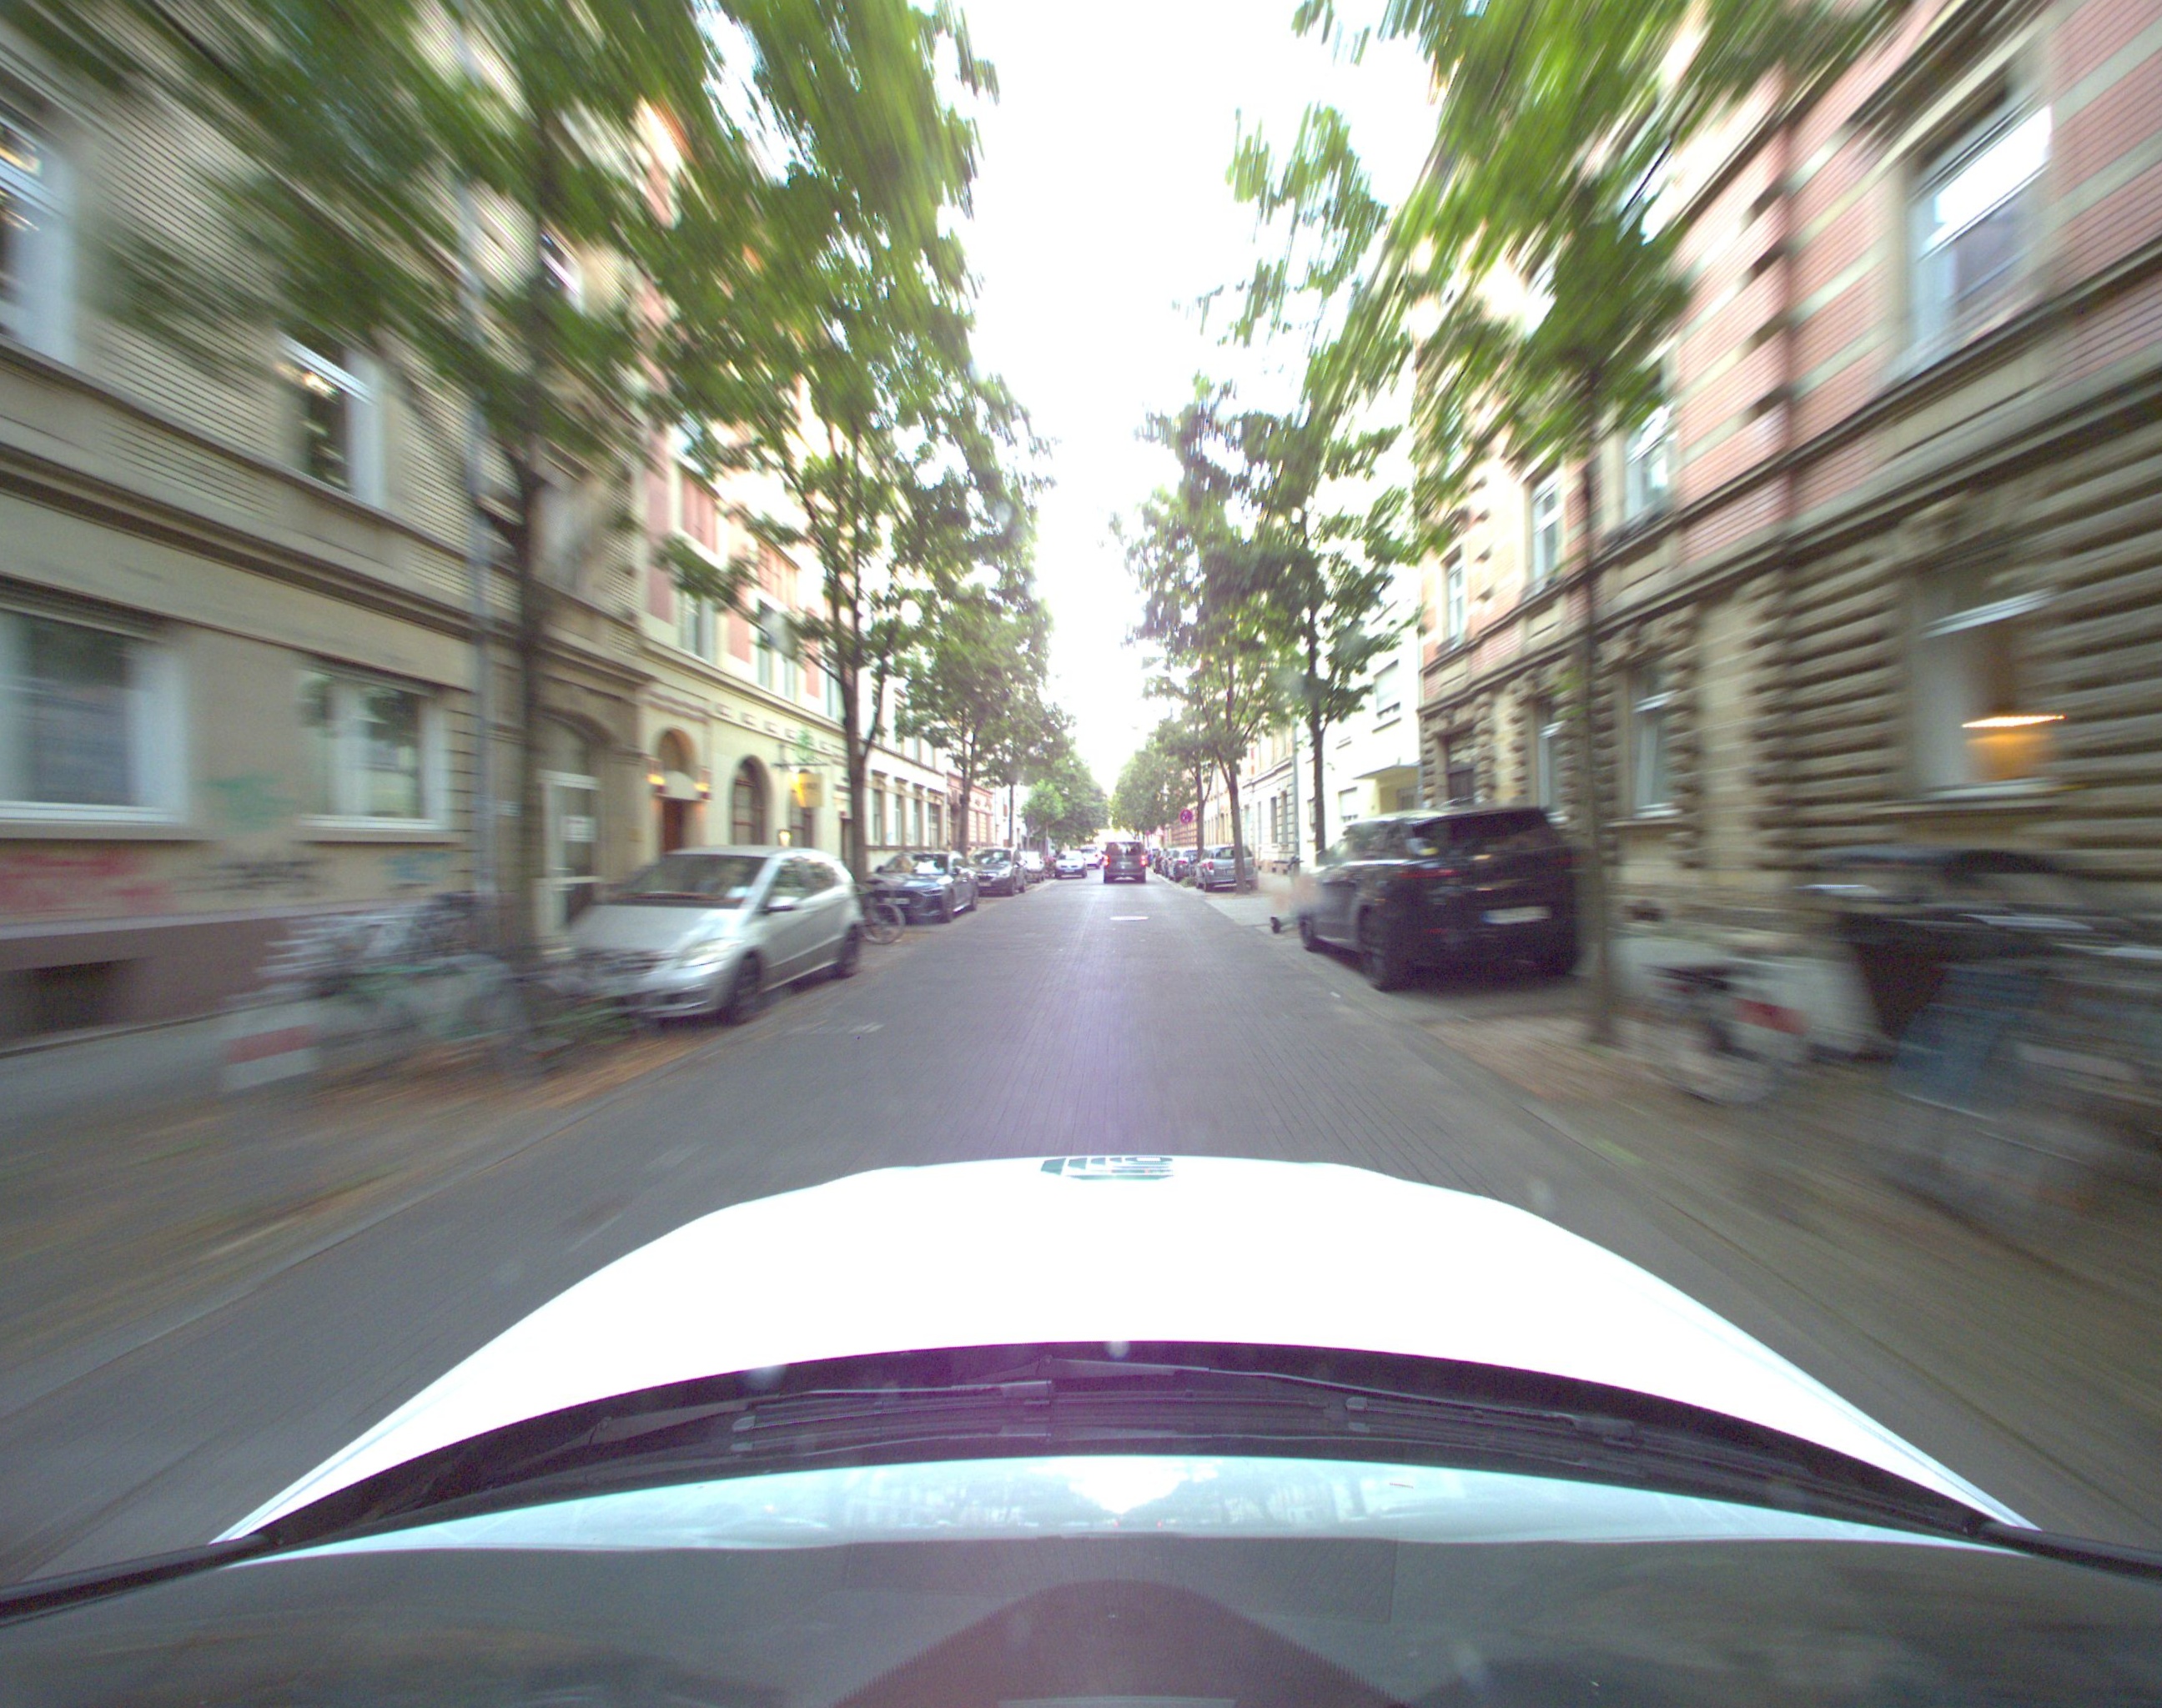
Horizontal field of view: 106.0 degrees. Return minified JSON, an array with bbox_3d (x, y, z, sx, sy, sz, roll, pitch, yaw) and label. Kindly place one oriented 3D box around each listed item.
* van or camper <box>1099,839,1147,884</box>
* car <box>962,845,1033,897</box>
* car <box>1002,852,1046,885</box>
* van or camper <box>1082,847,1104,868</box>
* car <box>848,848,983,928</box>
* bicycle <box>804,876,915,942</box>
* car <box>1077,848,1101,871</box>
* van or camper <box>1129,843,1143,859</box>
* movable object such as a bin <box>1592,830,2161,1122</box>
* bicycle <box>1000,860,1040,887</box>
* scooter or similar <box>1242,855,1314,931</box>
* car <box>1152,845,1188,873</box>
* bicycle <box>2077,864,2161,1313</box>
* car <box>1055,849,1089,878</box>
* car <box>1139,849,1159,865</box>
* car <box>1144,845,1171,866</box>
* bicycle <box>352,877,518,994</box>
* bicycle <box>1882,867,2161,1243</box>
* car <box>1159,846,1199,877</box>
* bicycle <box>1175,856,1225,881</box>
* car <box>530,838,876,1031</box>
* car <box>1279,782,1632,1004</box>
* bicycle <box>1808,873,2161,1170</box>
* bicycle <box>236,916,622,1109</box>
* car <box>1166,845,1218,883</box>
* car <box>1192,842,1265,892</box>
[{"bbox_3d":[1.954,0.309,37.071,2.026,1.897,4.276,-1,0,4],"label":"van or camper"},{"bbox_3d":[-2.689,0.511,27.071,1.699,1.580,4.082,0,1,3],"label":"car"},{"bbox_3d":[-2.540,0.614,37.079,1.581,1.437,3.568,0,0,2],"label":"car"},{"bbox_3d":[1.120,0.276,75.661,1.870,1.843,4.753,-2,0,1],"label":"van or camper"},{"bbox_3d":[-3.436,0.632,17.822,1.798,1.518,4.688,0,0,2],"label":"car"},{"bbox_3d":[-3.640,0.897,13.405,1.676,1.003,0.430,2,0,3],"label":"bicycle"},{"bbox_3d":[0.578,0.383,60.398,1.658,1.563,3.999,-2,0,-1],"label":"car"},{"bbox_3d":[9.343,-0.565,138.359,1.986,2.599,5.425,-1,0,1],"label":"van or camper"},{"bbox_3d":[4.172,0.613,4.408,2.205,1.305,0.772,-4,0,5],"label":"movable object such as a bin"},{"bbox_3d":[-2.532,0.810,33.678,0.672,1.085,1.805,1,-1,-45],"label":"bicycle"},{"bbox_3d":[3.347,0.656,13.799,0.667,1.190,1.123,-4,-1,42],"label":"scooter or similar"},{"bbox_3d":[5.096,0.279,47.030,1.759,1.415,4.477,-3,0,3],"label":"car"},{"bbox_3d":[3.978,0.641,2.099,1.754,1.294,0.802,-4,0,1],"label":"bicycle"},{"bbox_3d":[-0.445,0.482,43.253,1.574,1.420,3.755,-2,0,2],"label":"car"},{"bbox_3d":[6.580,0.265,79.122,1.687,1.401,4.648,-2,0,2],"label":"car"},{"bbox_3d":[5.794,0.113,61.912,1.622,1.466,4.246,-2,0,1],"label":"car"},{"bbox_3d":[-7.094,0.848,9.046,0.459,1.089,1.631,2,1,4],"label":"bicycle"},{"bbox_3d":[4.051,0.659,2.914,1.688,1.198,0.583,-2,0,5],"label":"bicycle"},{"bbox_3d":[4.972,0.369,41.776,1.630,1.424,3.565,-2,0,1],"label":"car"},{"bbox_3d":[4.858,0.581,33.260,1.921,0.982,0.634,-1,0,-20],"label":"bicycle"},{"bbox_3d":[-3.661,0.659,8.743,1.668,1.607,3.866,0,0,4],"label":"car"},{"bbox_3d":[3.864,0.330,9.548,2.006,1.833,4.814,-4,0,2],"label":"car"},{"bbox_3d":[4.281,0.683,3.533,1.650,1.143,0.583,-2,0,5],"label":"bicycle"},{"bbox_3d":[-4.146,0.972,5.347,1.868,1.060,0.593,0,0,-17],"label":"bicycle"},{"bbox_3d":[4.844,0.406,36.164,1.711,1.476,4.369,-3,0,1],"label":"car"},{"bbox_3d":[4.785,0.377,26.940,1.752,1.463,4.310,-2,0,2],"label":"car"}]
